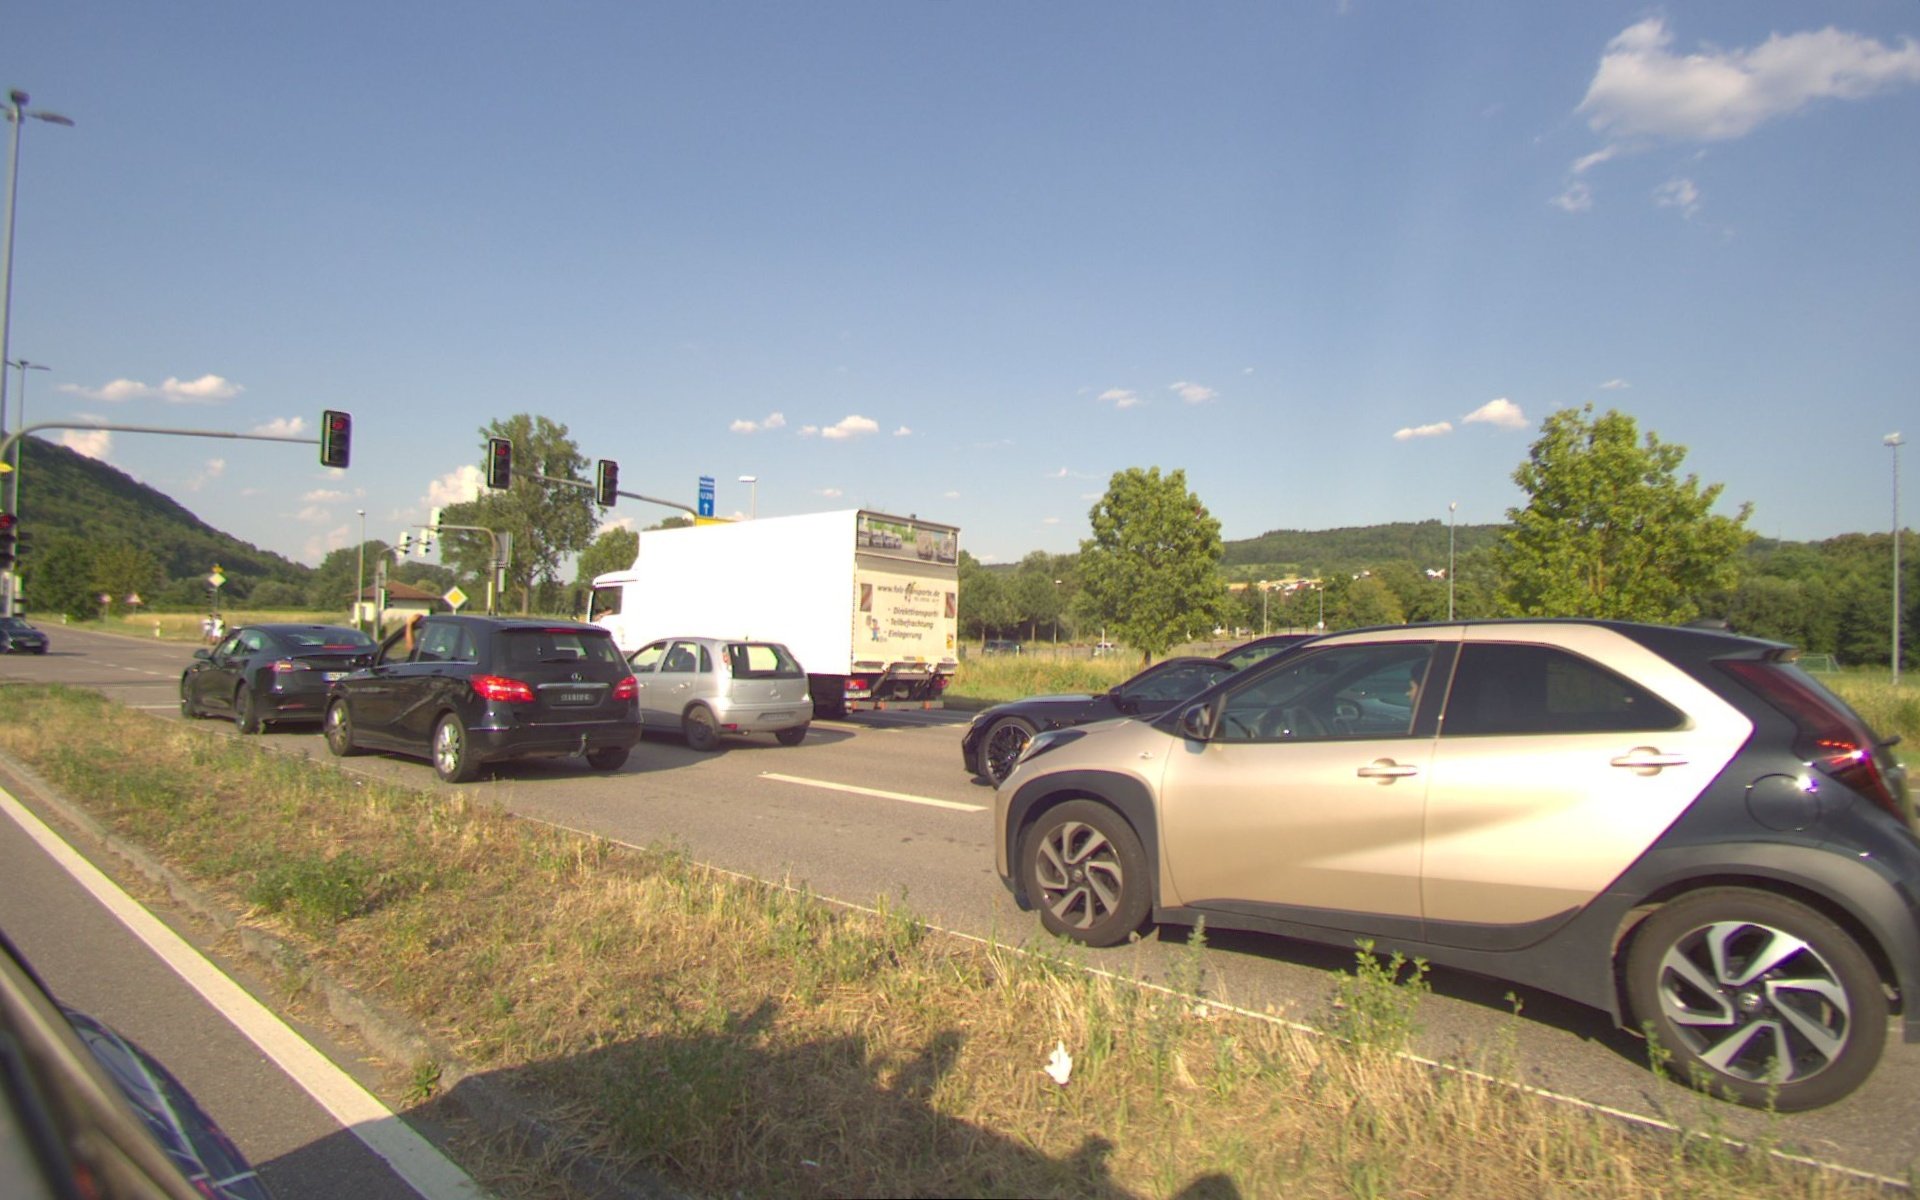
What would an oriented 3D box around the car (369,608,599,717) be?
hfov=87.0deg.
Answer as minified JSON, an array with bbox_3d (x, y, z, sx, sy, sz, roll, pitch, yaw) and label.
[{"bbox_3d":[-8.789,1.052,18.508,4.804,1.691,1.973,0,-2,41],"label":"car"}]

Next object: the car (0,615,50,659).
[{"bbox_3d":[-36.833,1.362,37.919,3.941,1.586,1.619,0,0,-2],"label":"car"}]

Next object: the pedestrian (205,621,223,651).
[{"bbox_3d":[-41.066,1.972,55.724,0.645,1.618,0.892,0,0,-27],"label":"pedestrian"}]

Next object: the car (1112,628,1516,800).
[{"bbox_3d":[3.928,1.160,11.588,3.998,1.541,1.744,0,-3,41],"label":"car"}]

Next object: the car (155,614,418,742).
[{"bbox_3d":[-9.727,0.991,14.438,4.925,1.477,1.772,0,-2,40],"label":"car"}]

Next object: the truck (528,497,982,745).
[{"bbox_3d":[-4.539,0.380,19.771,10.498,3.718,2.901,0,-4,42],"label":"truck"}]

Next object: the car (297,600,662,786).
[{"bbox_3d":[-5.189,0.889,10.627,4.569,1.550,1.762,-2,-4,41],"label":"car"}]

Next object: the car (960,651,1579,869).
[{"bbox_3d":[2.378,1.140,8.688,4.815,1.293,1.684,-1,-4,41],"label":"car"}]

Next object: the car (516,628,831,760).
[{"bbox_3d":[-4.150,1.179,14.114,5.078,1.416,1.684,0,-2,41],"label":"car"}]

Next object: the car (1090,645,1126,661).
[{"bbox_3d":[13.485,4.806,92.071,1.765,1.378,3.703,0,-2,36],"label":"car"}]

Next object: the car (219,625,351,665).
[{"bbox_3d":[-26.510,1.735,39.927,4.117,1.488,1.768,1,-1,-27],"label":"car"}]

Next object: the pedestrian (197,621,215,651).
[{"bbox_3d":[-41.975,1.975,56.349,0.645,1.618,0.839,0,0,-27],"label":"pedestrian"}]

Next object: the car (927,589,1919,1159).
[{"bbox_3d":[1.928,0.773,4.509,3.998,1.531,1.762,0,-3,41],"label":"car"}]
